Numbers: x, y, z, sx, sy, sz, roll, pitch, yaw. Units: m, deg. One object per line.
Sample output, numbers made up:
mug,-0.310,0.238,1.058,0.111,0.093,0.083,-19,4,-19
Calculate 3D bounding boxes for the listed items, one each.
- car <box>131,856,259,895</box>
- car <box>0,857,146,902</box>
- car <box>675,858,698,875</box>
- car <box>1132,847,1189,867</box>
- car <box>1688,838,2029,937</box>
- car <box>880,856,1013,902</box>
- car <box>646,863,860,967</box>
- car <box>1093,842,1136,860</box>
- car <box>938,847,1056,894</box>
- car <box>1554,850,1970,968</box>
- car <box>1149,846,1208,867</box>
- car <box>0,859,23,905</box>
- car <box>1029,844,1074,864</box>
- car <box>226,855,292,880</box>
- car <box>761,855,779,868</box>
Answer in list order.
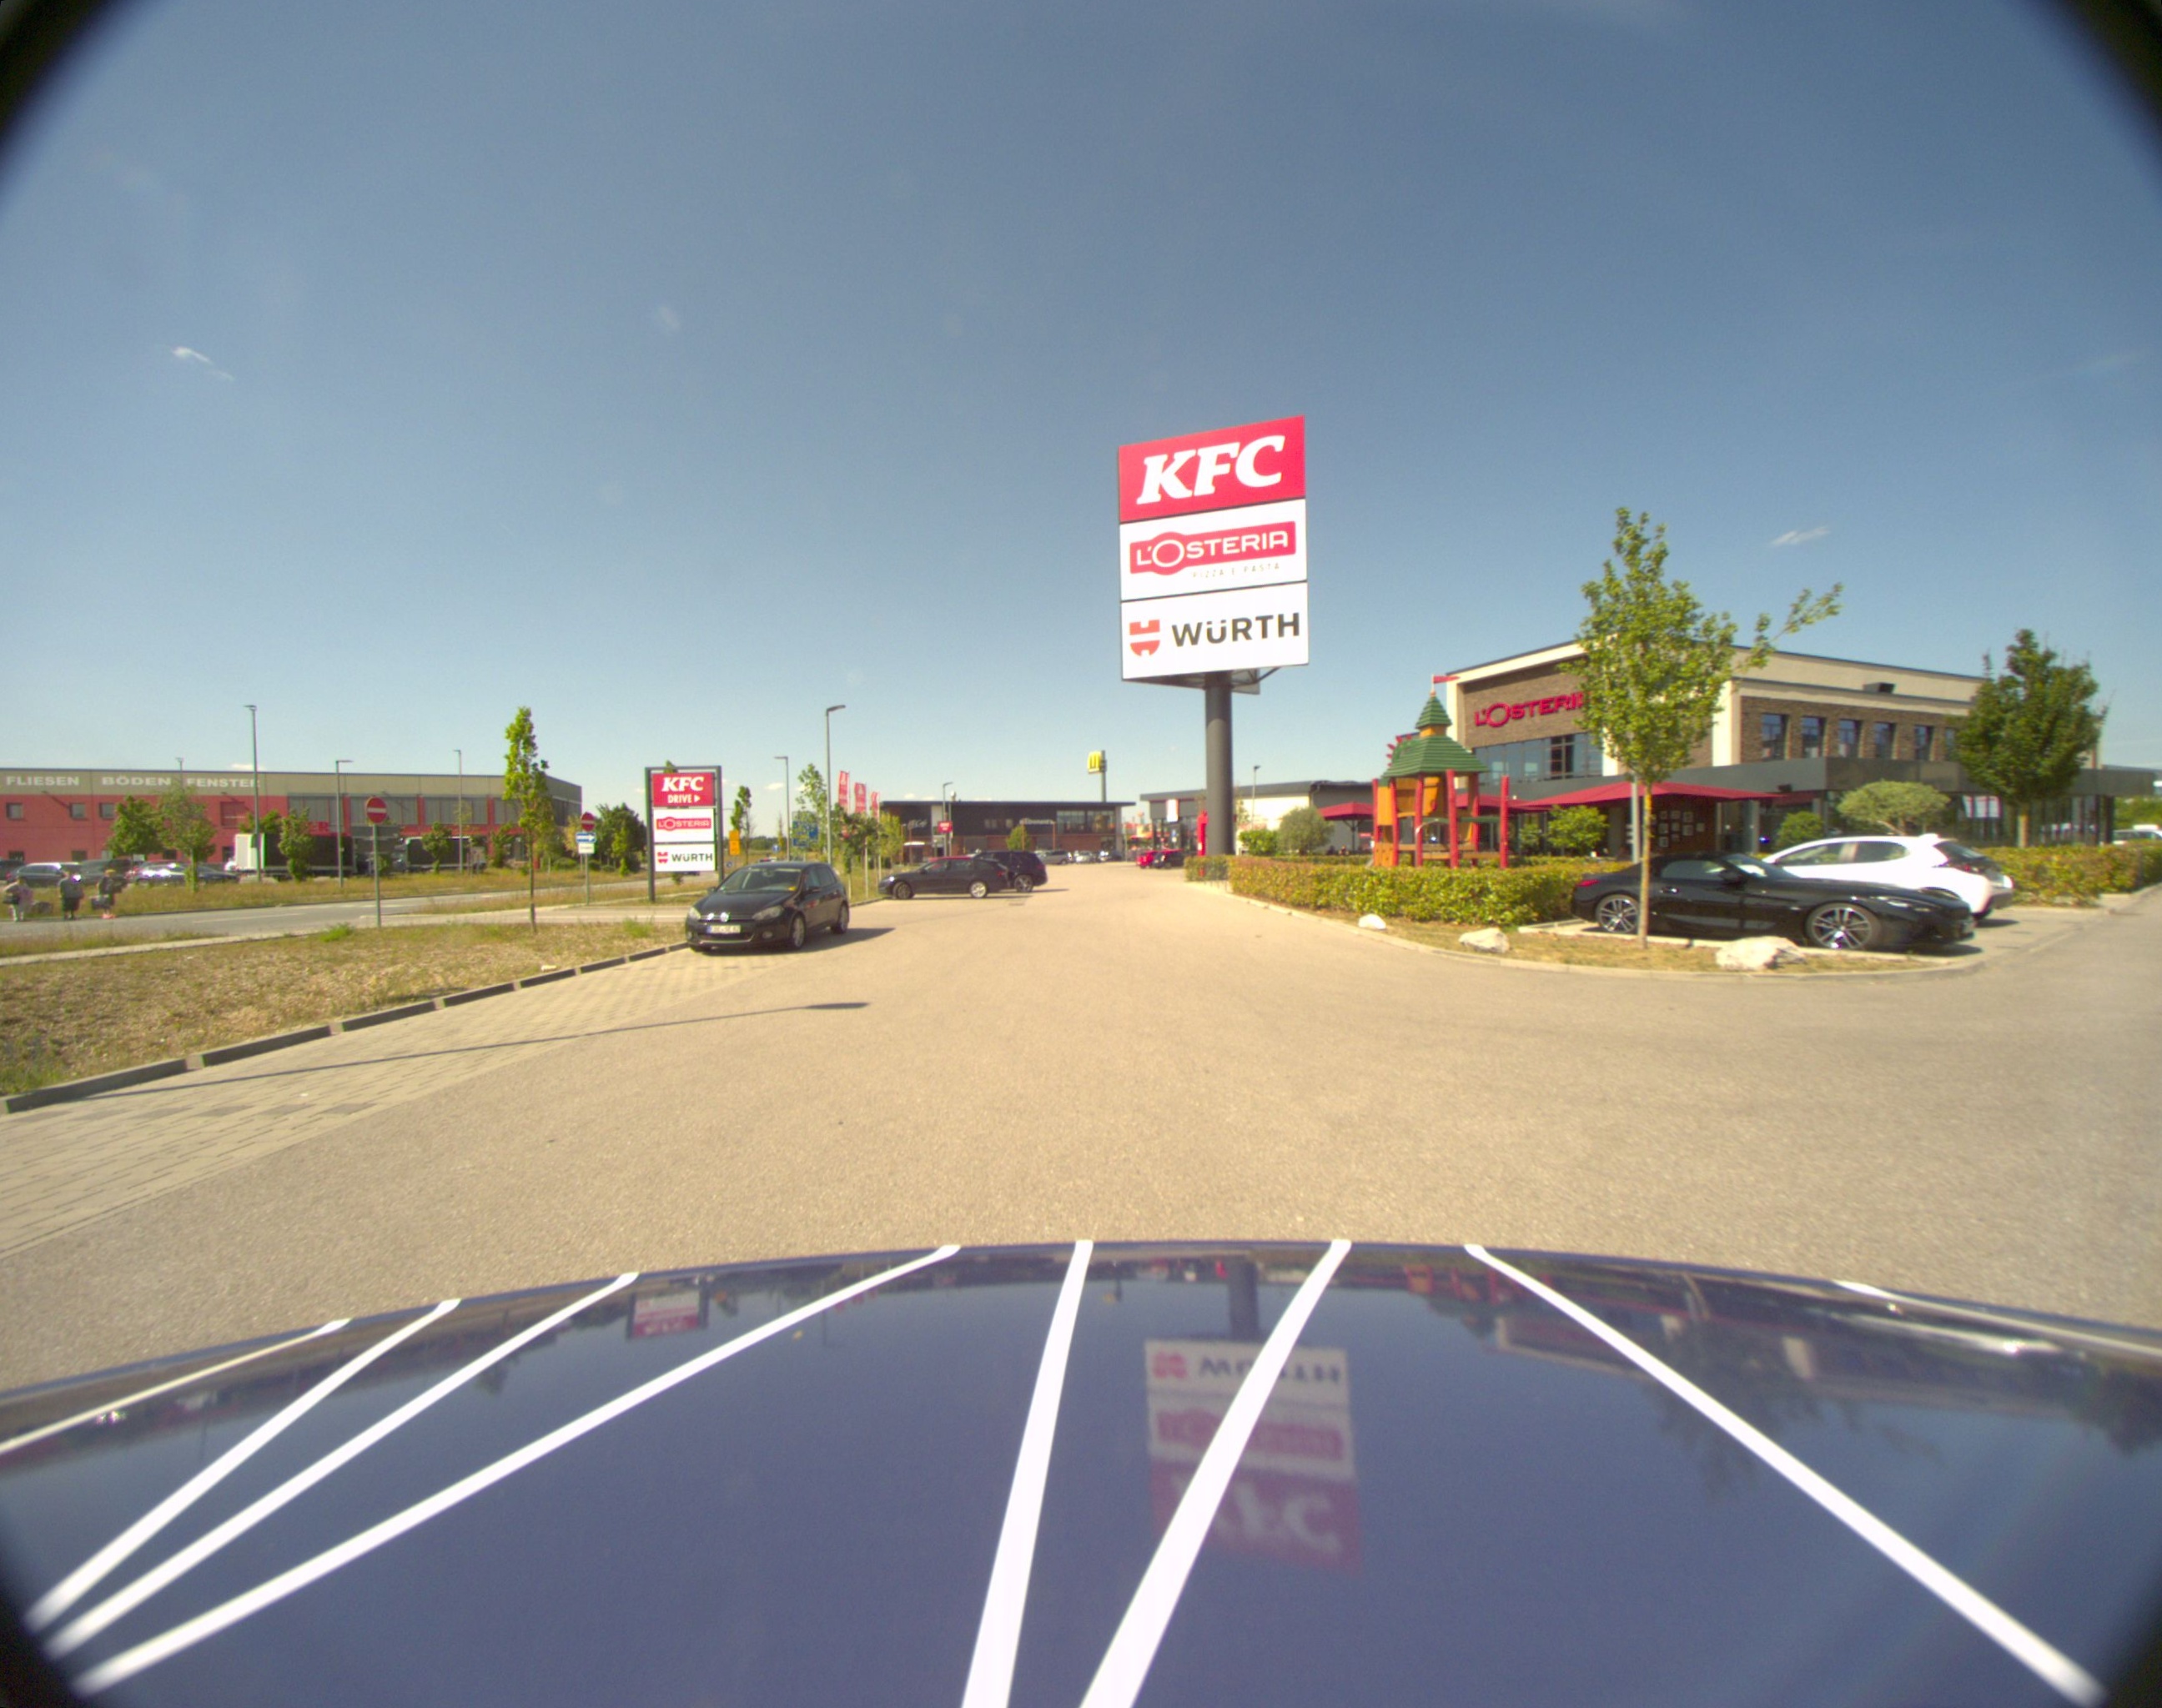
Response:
car,-51.195,1.197,43.995,4.484,2.026,1.998,-2,1,-9
car,-51.035,1.273,38.394,4.484,2.026,1.998,-2,1,-9
car,-39.815,1.233,76.748,1.831,1.532,3.992,-2,1,-25
car,6.422,0.219,61.427,4.100,1.556,1.875,-1,1,-21
car,13.606,0.495,13.583,1.806,1.466,3.905,-1,1,-28
car,-4.762,0.869,27.500,4.532,1.450,1.999,-1,1,-5
car,-5.624,0.951,13.749,1.877,1.457,4.364,-1,1,1
car,3.935,-0.365,88.990,4.489,2.002,1.996,-2,1,-22
car,-3.431,0.675,31.700,4.529,1.825,2.000,-1,1,5
car,9.496,0.641,10.975,1.834,1.330,4.144,-2,1,-33
car,7.550,0.176,58.945,4.100,1.556,1.875,-1,1,-21
car,-50.502,1.329,33.412,4.484,2.026,1.998,-2,1,-9
car,-3.285,-0.052,83.515,4.489,2.002,1.996,-2,1,-22
car,-71.198,1.126,65.915,2.002,2.026,4.476,-2,1,-20
car,-40.002,0.926,97.738,1.831,1.532,3.991,-2,1,-26
